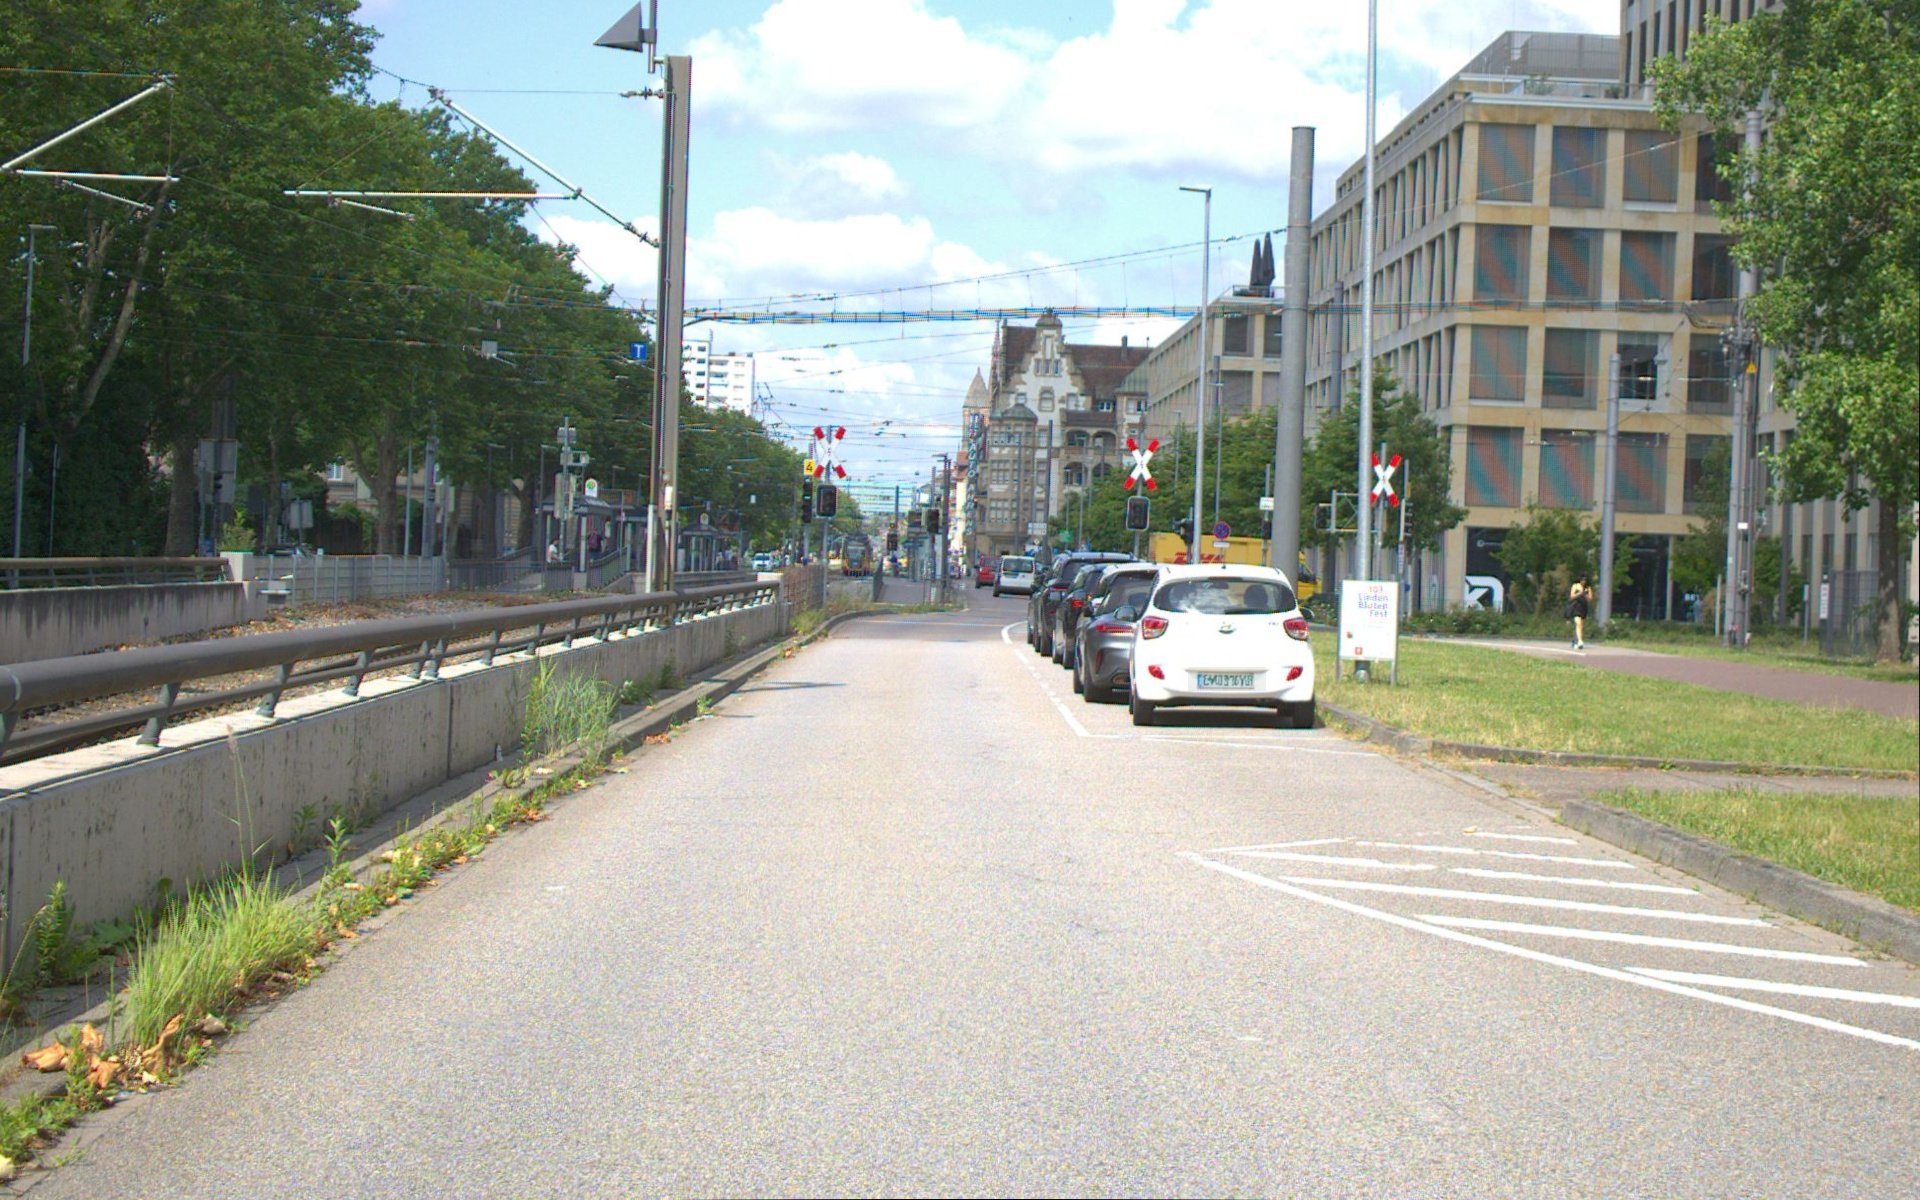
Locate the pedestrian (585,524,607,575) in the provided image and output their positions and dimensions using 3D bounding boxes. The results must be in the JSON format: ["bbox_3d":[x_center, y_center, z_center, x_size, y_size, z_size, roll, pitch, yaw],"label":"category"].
[{"bbox_3d":[-13.392,-1.856,126.505,0.706,1.839,0.864,1,0,-2],"label":"pedestrian"}]

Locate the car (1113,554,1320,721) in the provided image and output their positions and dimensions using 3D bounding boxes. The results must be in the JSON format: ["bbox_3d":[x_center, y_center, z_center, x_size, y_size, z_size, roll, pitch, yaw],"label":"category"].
[{"bbox_3d":[2.398,0.320,32.937,1.707,1.474,3.789,1,1,1],"label":"car"}]

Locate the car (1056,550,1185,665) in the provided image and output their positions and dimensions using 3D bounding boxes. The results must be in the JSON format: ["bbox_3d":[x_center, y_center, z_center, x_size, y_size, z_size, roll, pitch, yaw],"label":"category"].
[{"bbox_3d":[2.241,0.084,48.888,1.644,1.525,4.442,1,1,1],"label":"car"}]

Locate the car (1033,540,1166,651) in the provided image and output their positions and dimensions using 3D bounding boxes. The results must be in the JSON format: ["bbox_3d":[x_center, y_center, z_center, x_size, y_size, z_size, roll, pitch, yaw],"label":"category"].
[{"bbox_3d":[2.191,-0.105,55.047,1.816,1.656,4.671,1,1,-1],"label":"car"}]

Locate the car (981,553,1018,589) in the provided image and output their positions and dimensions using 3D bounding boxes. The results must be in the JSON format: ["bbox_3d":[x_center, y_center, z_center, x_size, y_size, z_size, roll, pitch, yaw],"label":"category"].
[{"bbox_3d":[2.268,-1.650,197.140,1.993,2.007,4.000,1,0,-1],"label":"car"}]

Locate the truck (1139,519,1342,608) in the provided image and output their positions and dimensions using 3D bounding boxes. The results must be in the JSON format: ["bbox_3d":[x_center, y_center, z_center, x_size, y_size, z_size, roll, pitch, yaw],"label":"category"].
[{"bbox_3d":[9.916,-1.280,121.837,6.805,2.857,2.455,2,0,-3],"label":"truck"}]

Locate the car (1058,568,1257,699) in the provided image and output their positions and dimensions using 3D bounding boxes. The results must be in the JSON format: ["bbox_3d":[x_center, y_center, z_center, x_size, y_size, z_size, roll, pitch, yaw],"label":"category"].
[{"bbox_3d":[2.115,0.325,37.922,1.824,1.307,4.443,1,1,-1],"label":"car"}]

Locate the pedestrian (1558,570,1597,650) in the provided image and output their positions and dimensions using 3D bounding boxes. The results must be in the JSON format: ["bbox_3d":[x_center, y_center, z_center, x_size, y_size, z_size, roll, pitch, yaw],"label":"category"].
[{"bbox_3d":[12.415,0.201,69.136,0.622,1.602,0.624,1,0,-3],"label":"pedestrian"}]

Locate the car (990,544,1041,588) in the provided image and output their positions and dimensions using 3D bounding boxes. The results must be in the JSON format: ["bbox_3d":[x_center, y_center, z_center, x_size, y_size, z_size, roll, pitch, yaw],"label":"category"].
[{"bbox_3d":[2.318,-1.440,145.195,1.868,1.740,4.000,4,0,-2],"label":"car"}]

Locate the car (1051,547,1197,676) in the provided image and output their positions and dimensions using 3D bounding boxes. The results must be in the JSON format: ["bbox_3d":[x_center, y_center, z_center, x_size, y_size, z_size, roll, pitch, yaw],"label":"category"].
[{"bbox_3d":[2.010,0.120,42.999,1.669,1.510,3.850,1,1,1],"label":"car"}]

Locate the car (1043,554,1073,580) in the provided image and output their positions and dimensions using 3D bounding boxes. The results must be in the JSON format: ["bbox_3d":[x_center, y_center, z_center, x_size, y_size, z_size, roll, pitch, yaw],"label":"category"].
[{"bbox_3d":[5.874,-1.995,206.523,1.591,1.455,3.613,4,1,0],"label":"car"}]
